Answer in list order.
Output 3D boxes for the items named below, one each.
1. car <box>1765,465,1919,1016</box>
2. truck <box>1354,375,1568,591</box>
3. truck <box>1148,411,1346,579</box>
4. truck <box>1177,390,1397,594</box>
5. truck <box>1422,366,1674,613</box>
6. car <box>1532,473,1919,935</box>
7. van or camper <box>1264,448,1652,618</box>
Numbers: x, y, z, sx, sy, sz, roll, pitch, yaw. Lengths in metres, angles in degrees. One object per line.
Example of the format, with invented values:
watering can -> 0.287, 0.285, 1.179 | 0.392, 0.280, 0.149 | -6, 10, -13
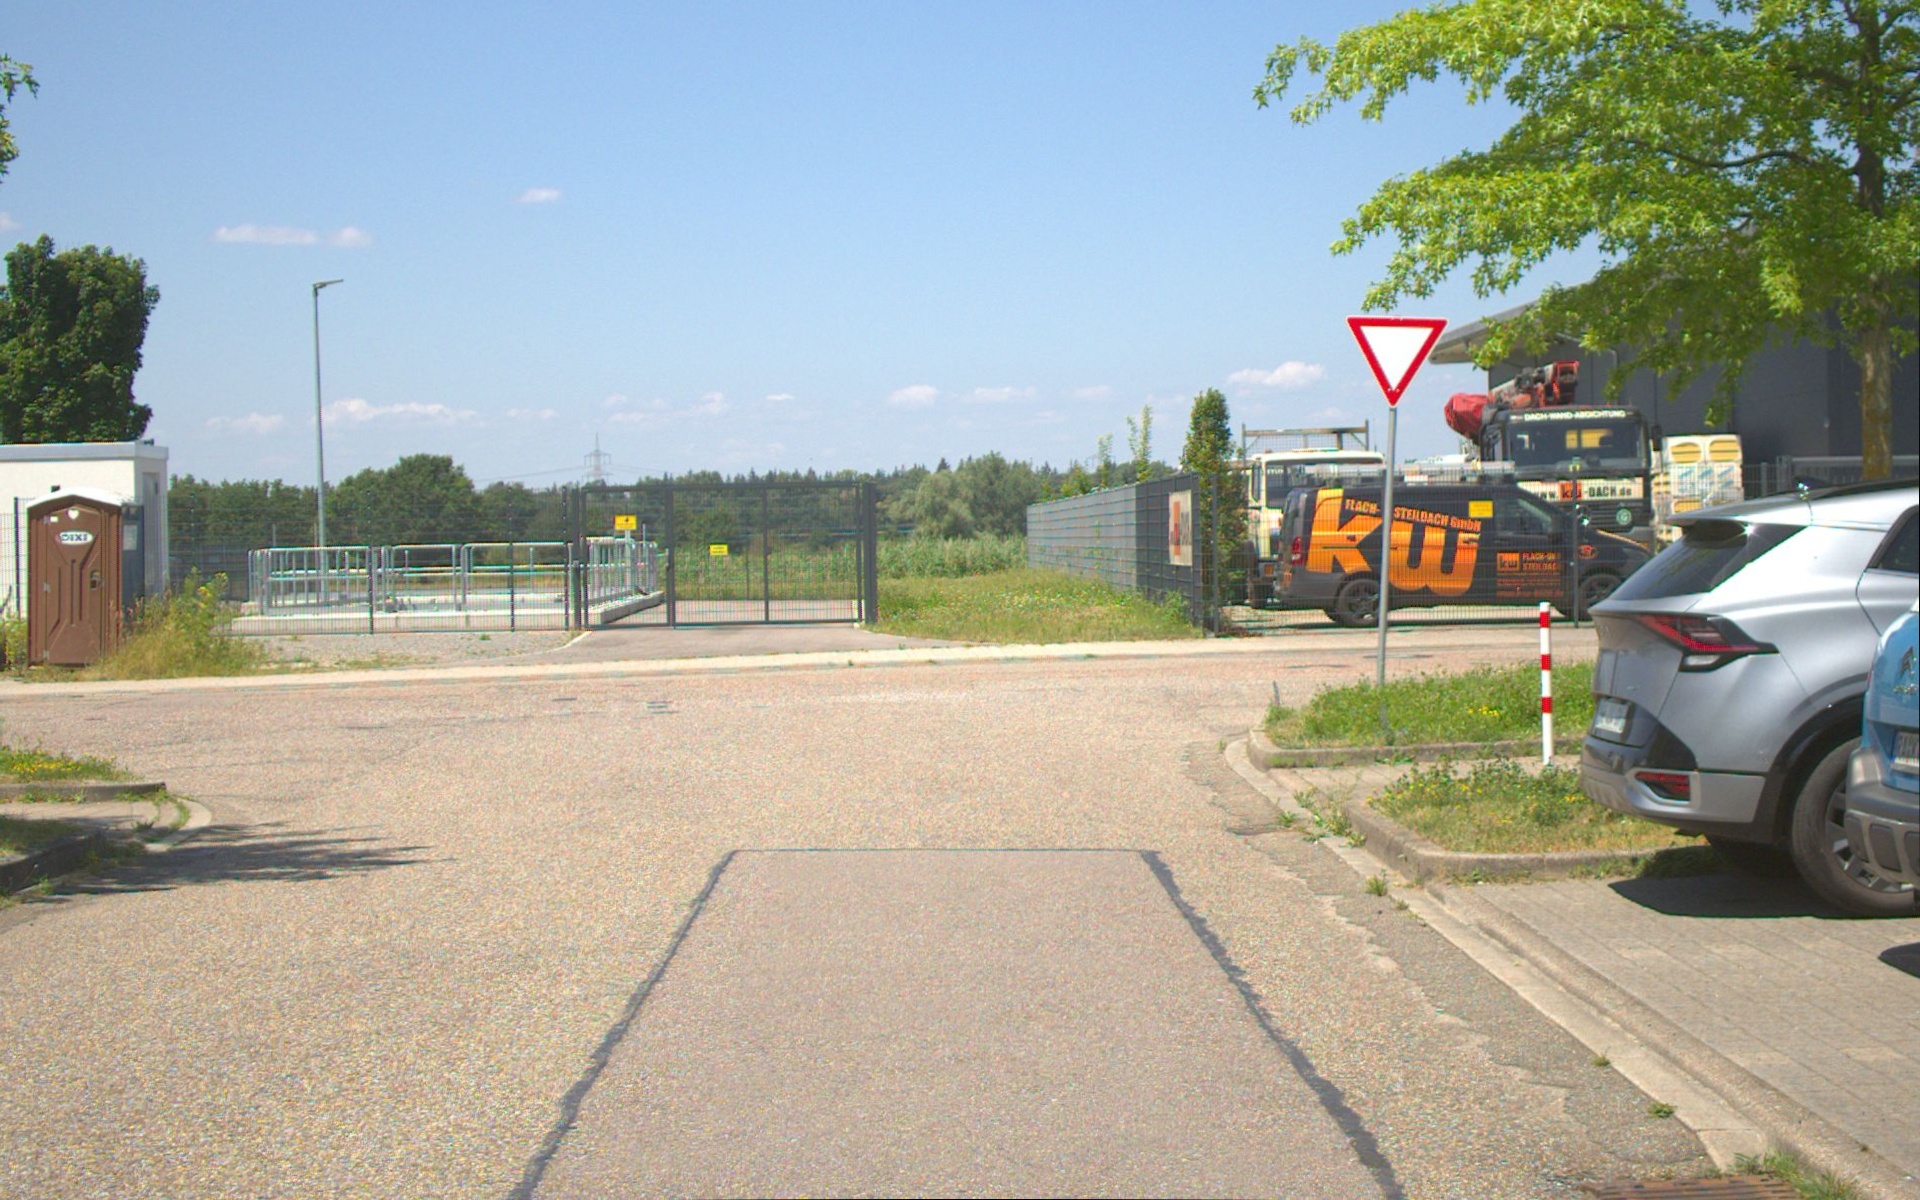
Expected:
car -> 4.812, 0.338, 10.974 | 3.987, 1.638, 1.838 | -2, 1, -1
truck -> 9.634, -2.241, 66.836 | 2.921, 3.915, 6.936 | -1, 1, -1
truck -> 5.291, -1.948, 64.558 | 2.921, 2.927, 6.936 | -1, 1, -1
truck -> 5.225, -1.736, 56.112 | 2.726, 3.051, 6.936 | -1, 1, -1
truck -> 9.942, -1.855, 58.863 | 2.921, 3.915, 6.936 | -1, 1, -1
car -> 4.565, 0.293, 13.450 | 4.279, 1.638, 1.851 | -2, 1, 0
van or camper -> 6.723, -0.935, 46.756 | 4.936, 2.156, 2.000 | -1, 2, -1
